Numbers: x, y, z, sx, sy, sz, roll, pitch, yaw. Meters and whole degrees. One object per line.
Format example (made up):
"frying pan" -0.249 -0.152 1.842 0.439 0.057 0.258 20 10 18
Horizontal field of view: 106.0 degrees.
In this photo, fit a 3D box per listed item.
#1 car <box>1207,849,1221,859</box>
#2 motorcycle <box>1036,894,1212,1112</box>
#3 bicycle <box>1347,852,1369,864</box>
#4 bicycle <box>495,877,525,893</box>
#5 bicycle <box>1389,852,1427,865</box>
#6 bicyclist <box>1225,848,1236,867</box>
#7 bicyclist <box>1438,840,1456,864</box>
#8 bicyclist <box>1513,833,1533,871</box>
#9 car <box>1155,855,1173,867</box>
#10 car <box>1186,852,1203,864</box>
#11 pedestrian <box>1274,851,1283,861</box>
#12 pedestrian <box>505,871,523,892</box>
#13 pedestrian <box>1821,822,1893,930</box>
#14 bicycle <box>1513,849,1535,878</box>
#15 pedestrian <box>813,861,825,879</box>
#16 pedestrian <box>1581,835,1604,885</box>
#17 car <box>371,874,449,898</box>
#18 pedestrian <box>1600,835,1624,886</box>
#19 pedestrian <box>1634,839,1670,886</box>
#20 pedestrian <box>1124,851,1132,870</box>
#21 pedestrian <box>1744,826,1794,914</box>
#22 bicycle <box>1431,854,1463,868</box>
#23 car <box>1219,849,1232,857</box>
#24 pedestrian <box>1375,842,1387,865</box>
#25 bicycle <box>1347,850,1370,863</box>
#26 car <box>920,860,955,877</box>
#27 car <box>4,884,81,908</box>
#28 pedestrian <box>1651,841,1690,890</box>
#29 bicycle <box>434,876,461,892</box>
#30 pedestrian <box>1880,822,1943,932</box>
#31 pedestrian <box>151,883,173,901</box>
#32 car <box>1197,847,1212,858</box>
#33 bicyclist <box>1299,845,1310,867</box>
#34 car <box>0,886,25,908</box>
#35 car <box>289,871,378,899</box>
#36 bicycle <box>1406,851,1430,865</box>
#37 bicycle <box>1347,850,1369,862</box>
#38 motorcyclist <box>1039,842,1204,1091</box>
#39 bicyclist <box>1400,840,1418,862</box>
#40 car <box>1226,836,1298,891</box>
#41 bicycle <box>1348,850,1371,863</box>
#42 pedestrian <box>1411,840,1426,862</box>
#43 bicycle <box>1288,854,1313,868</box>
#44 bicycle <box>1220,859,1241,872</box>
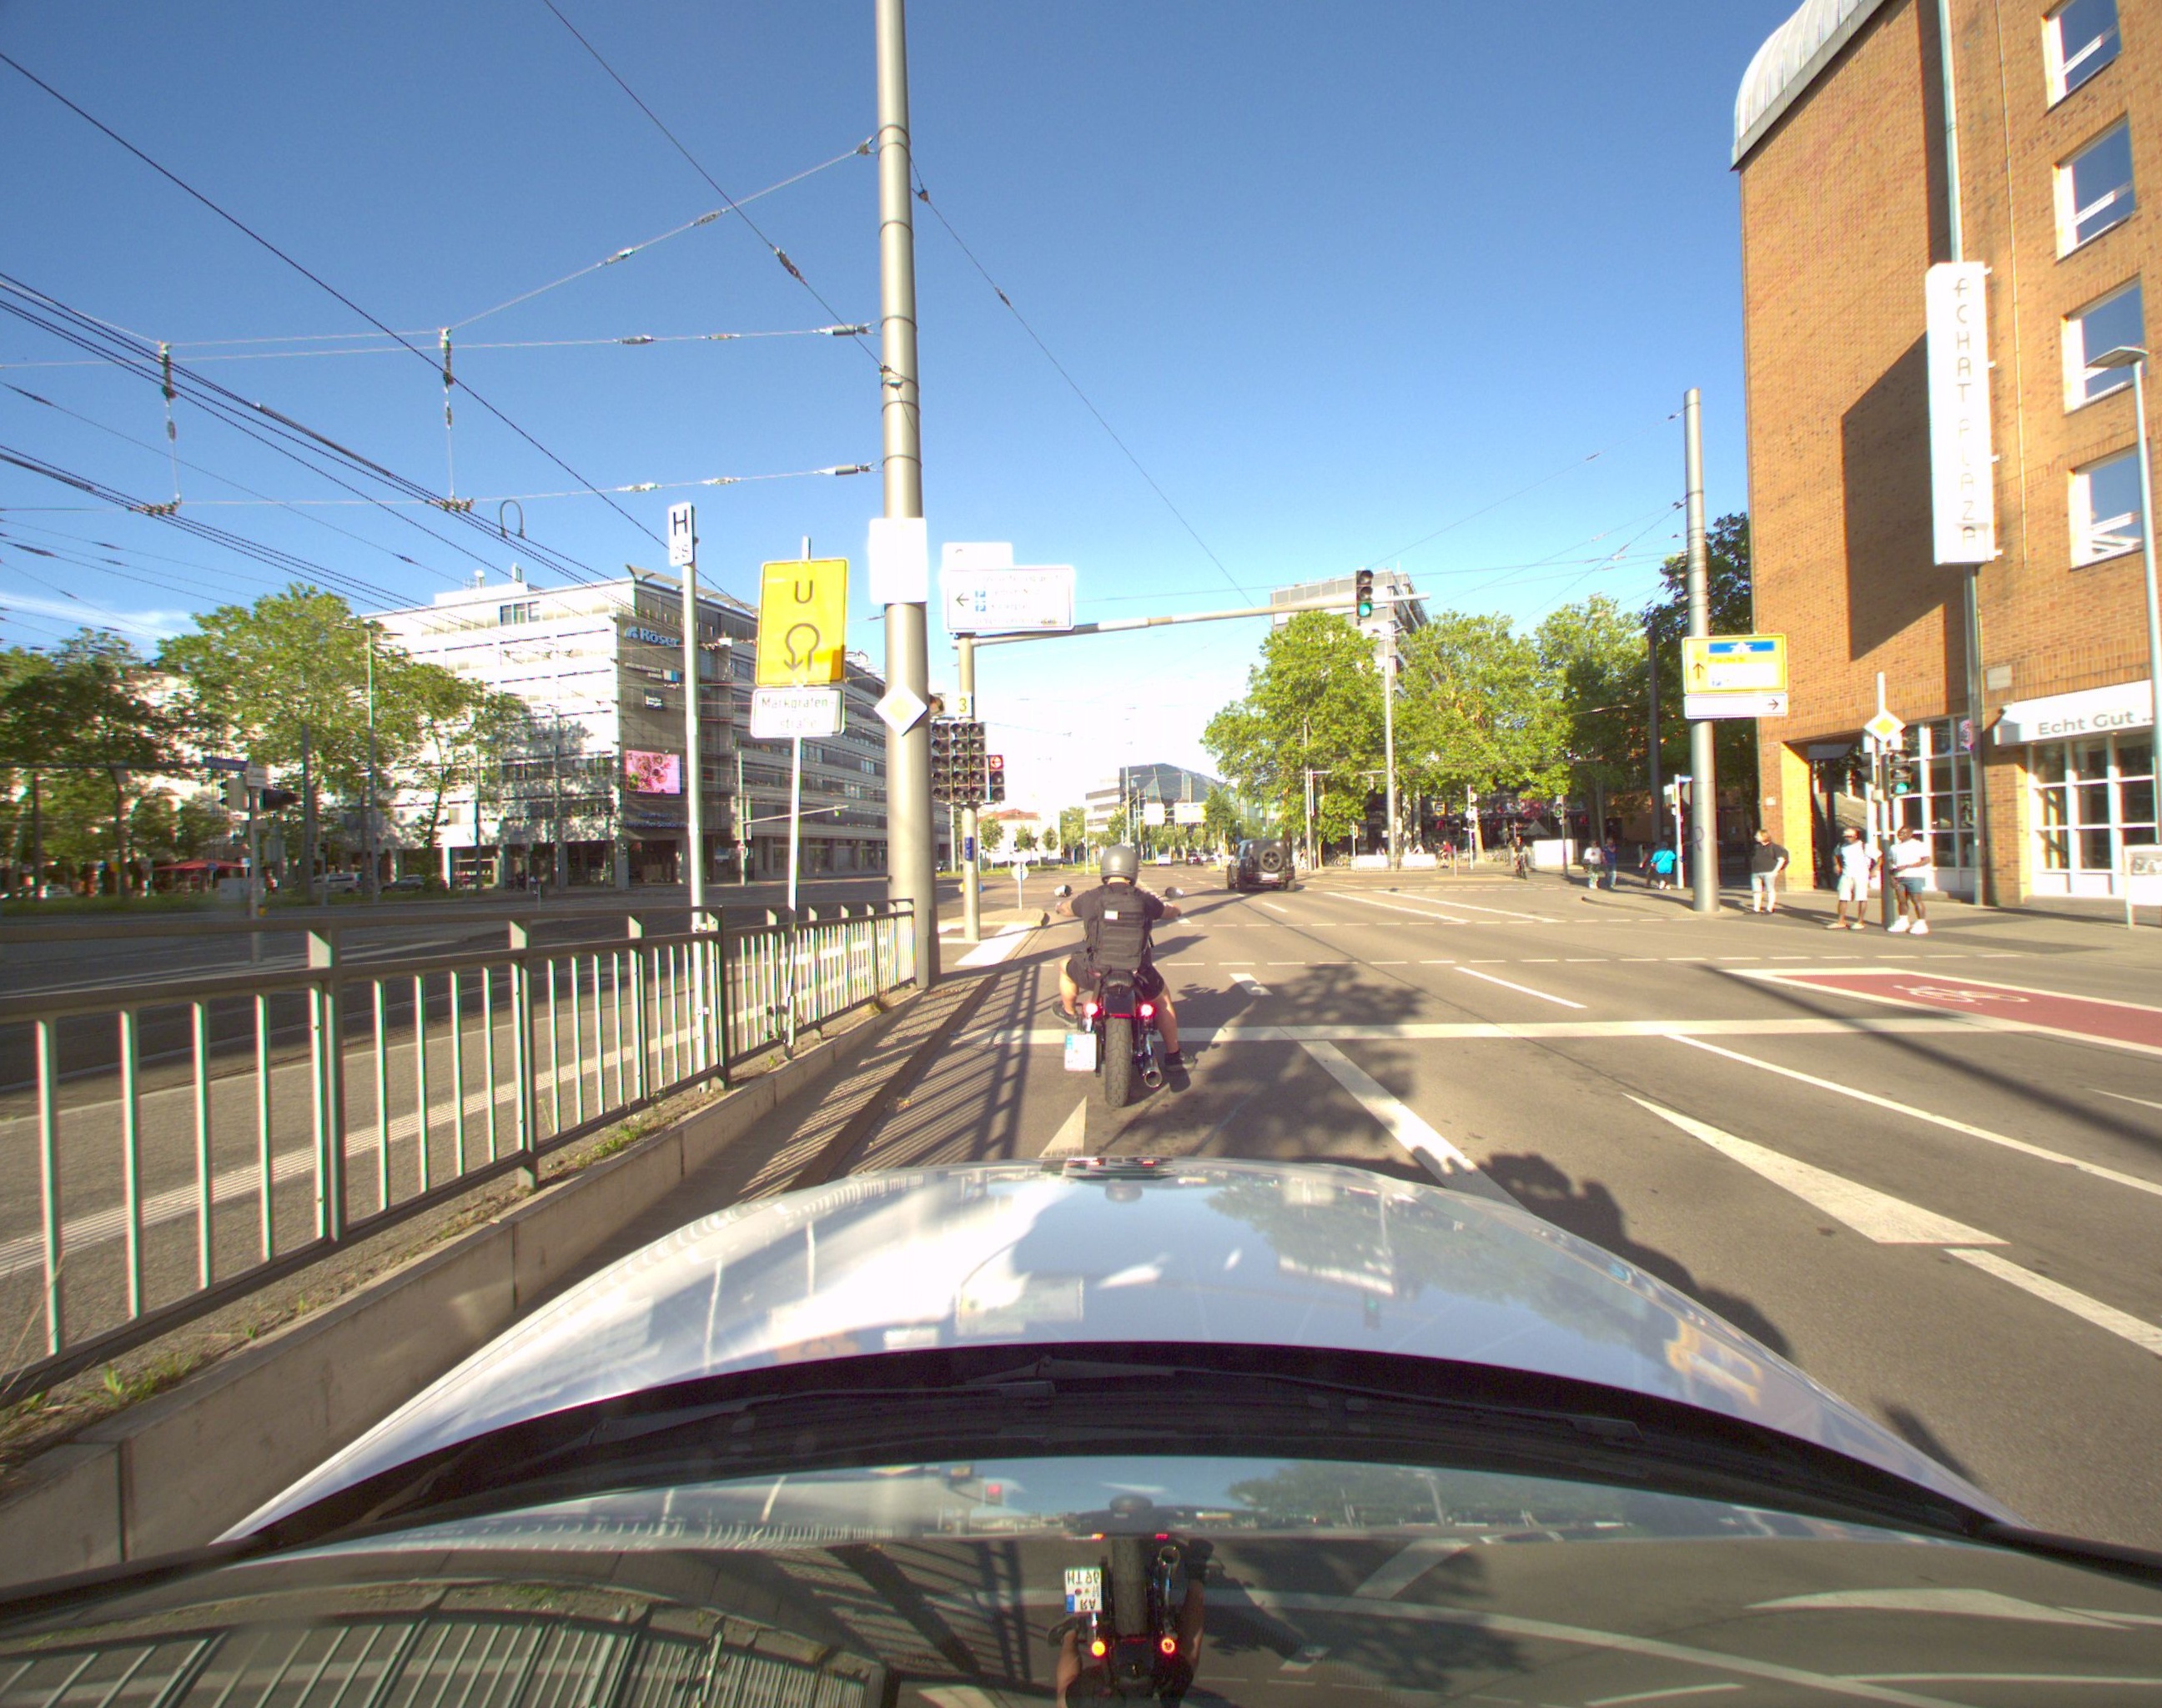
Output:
"car" 24.105 -0.042 147.492 1.705 1.657 3.774 -2 0 22
"motorcycle" 0.282 0.913 5.826 1.002 1.125 2.324 0 0 2
"bicycle" 22.758 0.325 66.931 1.692 0.986 0.392 -2 0 15
"bicycle" -43.553 2.349 62.138 1.834 1.163 0.613 -1 3 3
"bicycle" 28.904 0.381 71.966 3.028 1.113 0.836 -1 0 3
"bicyclist" 12.324 0.311 66.996 0.736 1.503 0.573 -2 -1 25
"bicyclist" 25.212 -0.156 56.110 0.921 1.615 0.638 -2 0 5
"bicyclist" 18.533 -0.093 34.155 0.573 1.515 0.855 -5 1 25
"car" 10.608 0.885 104.040 1.889 1.508 4.013 -1 -1 12
"car" 14.352 0.492 103.053 1.830 1.464 4.012 -1 -1 11
"pedestrian" 21.936 0.216 90.340 0.777 1.057 0.819 -2 0 24
"pedestrian" -43.566 2.114 62.577 0.831 1.610 0.607 0 3 5
"pedestrian" 13.589 0.384 14.270 0.500 1.833 0.725 -3 -1 -33
"bicycle" 18.528 0.380 34.113 0.595 1.050 1.893 -6 0 25
"pedestrian" -26.660 1.628 82.834 0.670 1.823 0.888 -3 -1 12
"pedestrian" 17.579 0.199 27.991 0.556 1.704 0.663 -1 -1 43
"car" -50.609 2.407 61.459 4.378 1.572 1.869 -2 2 6
"pedestrian" 18.084 0.229 27.741 0.596 1.727 0.606 -1 -1 42
"pedestrian" 18.890 0.272 26.939 0.649 1.539 0.741 0 -1 -6
"pedestrian" 4.024 0.567 69.581 0.654 1.582 0.490 -1 0 5
"pedestrian" 14.233 0.320 16.854 0.577 1.767 0.687 -1 1 -39
"bicycle" 25.218 0.503 56.129 1.844 0.910 0.653 -2 0 6
"car" 27.650 -0.228 155.621 1.705 1.484 3.774 -2 0 22
"pedestrian" 24.638 -0.030 66.873 0.840 1.852 0.813 1 0 16
"bicycle" 22.501 0.217 66.027 1.692 0.986 0.392 -2 0 15
"car" -13.906 1.404 79.146 1.779 1.465 4.325 -2 0 12
"car" -79.773 3.206 62.586 3.835 1.638 1.869 -2 0 6
"pedestrian" 18.758 0.367 25.921 0.674 1.539 0.741 0 -1 -6
"bicycle" -51.198 2.392 65.864 0.466 1.151 1.844 -1 1 9
"pedestrian" 13.782 0.377 13.518 0.407 1.774 0.573 -3 -1 -33
"pedestrian" -81.922 3.428 72.616 0.985 1.546 0.875 -2 -1 9
"car" 21.287 -0.230 140.119 1.804 1.818 3.963 -2 0 19
"bicyclist" 17.781 0.187 64.861 0.737 1.694 0.572 -2 -1 13
"car" -85.332 3.401 63.263 4.056 1.629 1.995 -2 1 2
"car" -56.222 2.317 61.285 4.888 1.843 1.930 -2 2 3
"bicycle" 25.019 0.307 60.486 1.932 1.052 0.783 0 -1 -38
"bicycle" 22.896 0.173 67.390 1.692 0.986 0.392 -2 0 15
"motorcyclist" 0.275 0.703 5.728 1.018 1.552 1.287 0 0 1
"bicyclist" 28.965 -0.240 71.950 1.221 1.931 0.836 -1 0 3
"car" 6.630 0.348 30.201 2.043 1.874 4.232 0 -1 5
"bicycle" 22.305 0.181 65.186 1.692 0.986 0.392 -2 0 15
"pedestrian" 25.098 -0.230 60.557 0.842 1.594 0.763 0 -1 -38
"bicycle" 17.514 0.540 64.933 1.839 1.021 0.518 -2 -1 13
"bicycle" 12.311 0.911 66.985 1.612 1.021 0.519 -2 -1 25
